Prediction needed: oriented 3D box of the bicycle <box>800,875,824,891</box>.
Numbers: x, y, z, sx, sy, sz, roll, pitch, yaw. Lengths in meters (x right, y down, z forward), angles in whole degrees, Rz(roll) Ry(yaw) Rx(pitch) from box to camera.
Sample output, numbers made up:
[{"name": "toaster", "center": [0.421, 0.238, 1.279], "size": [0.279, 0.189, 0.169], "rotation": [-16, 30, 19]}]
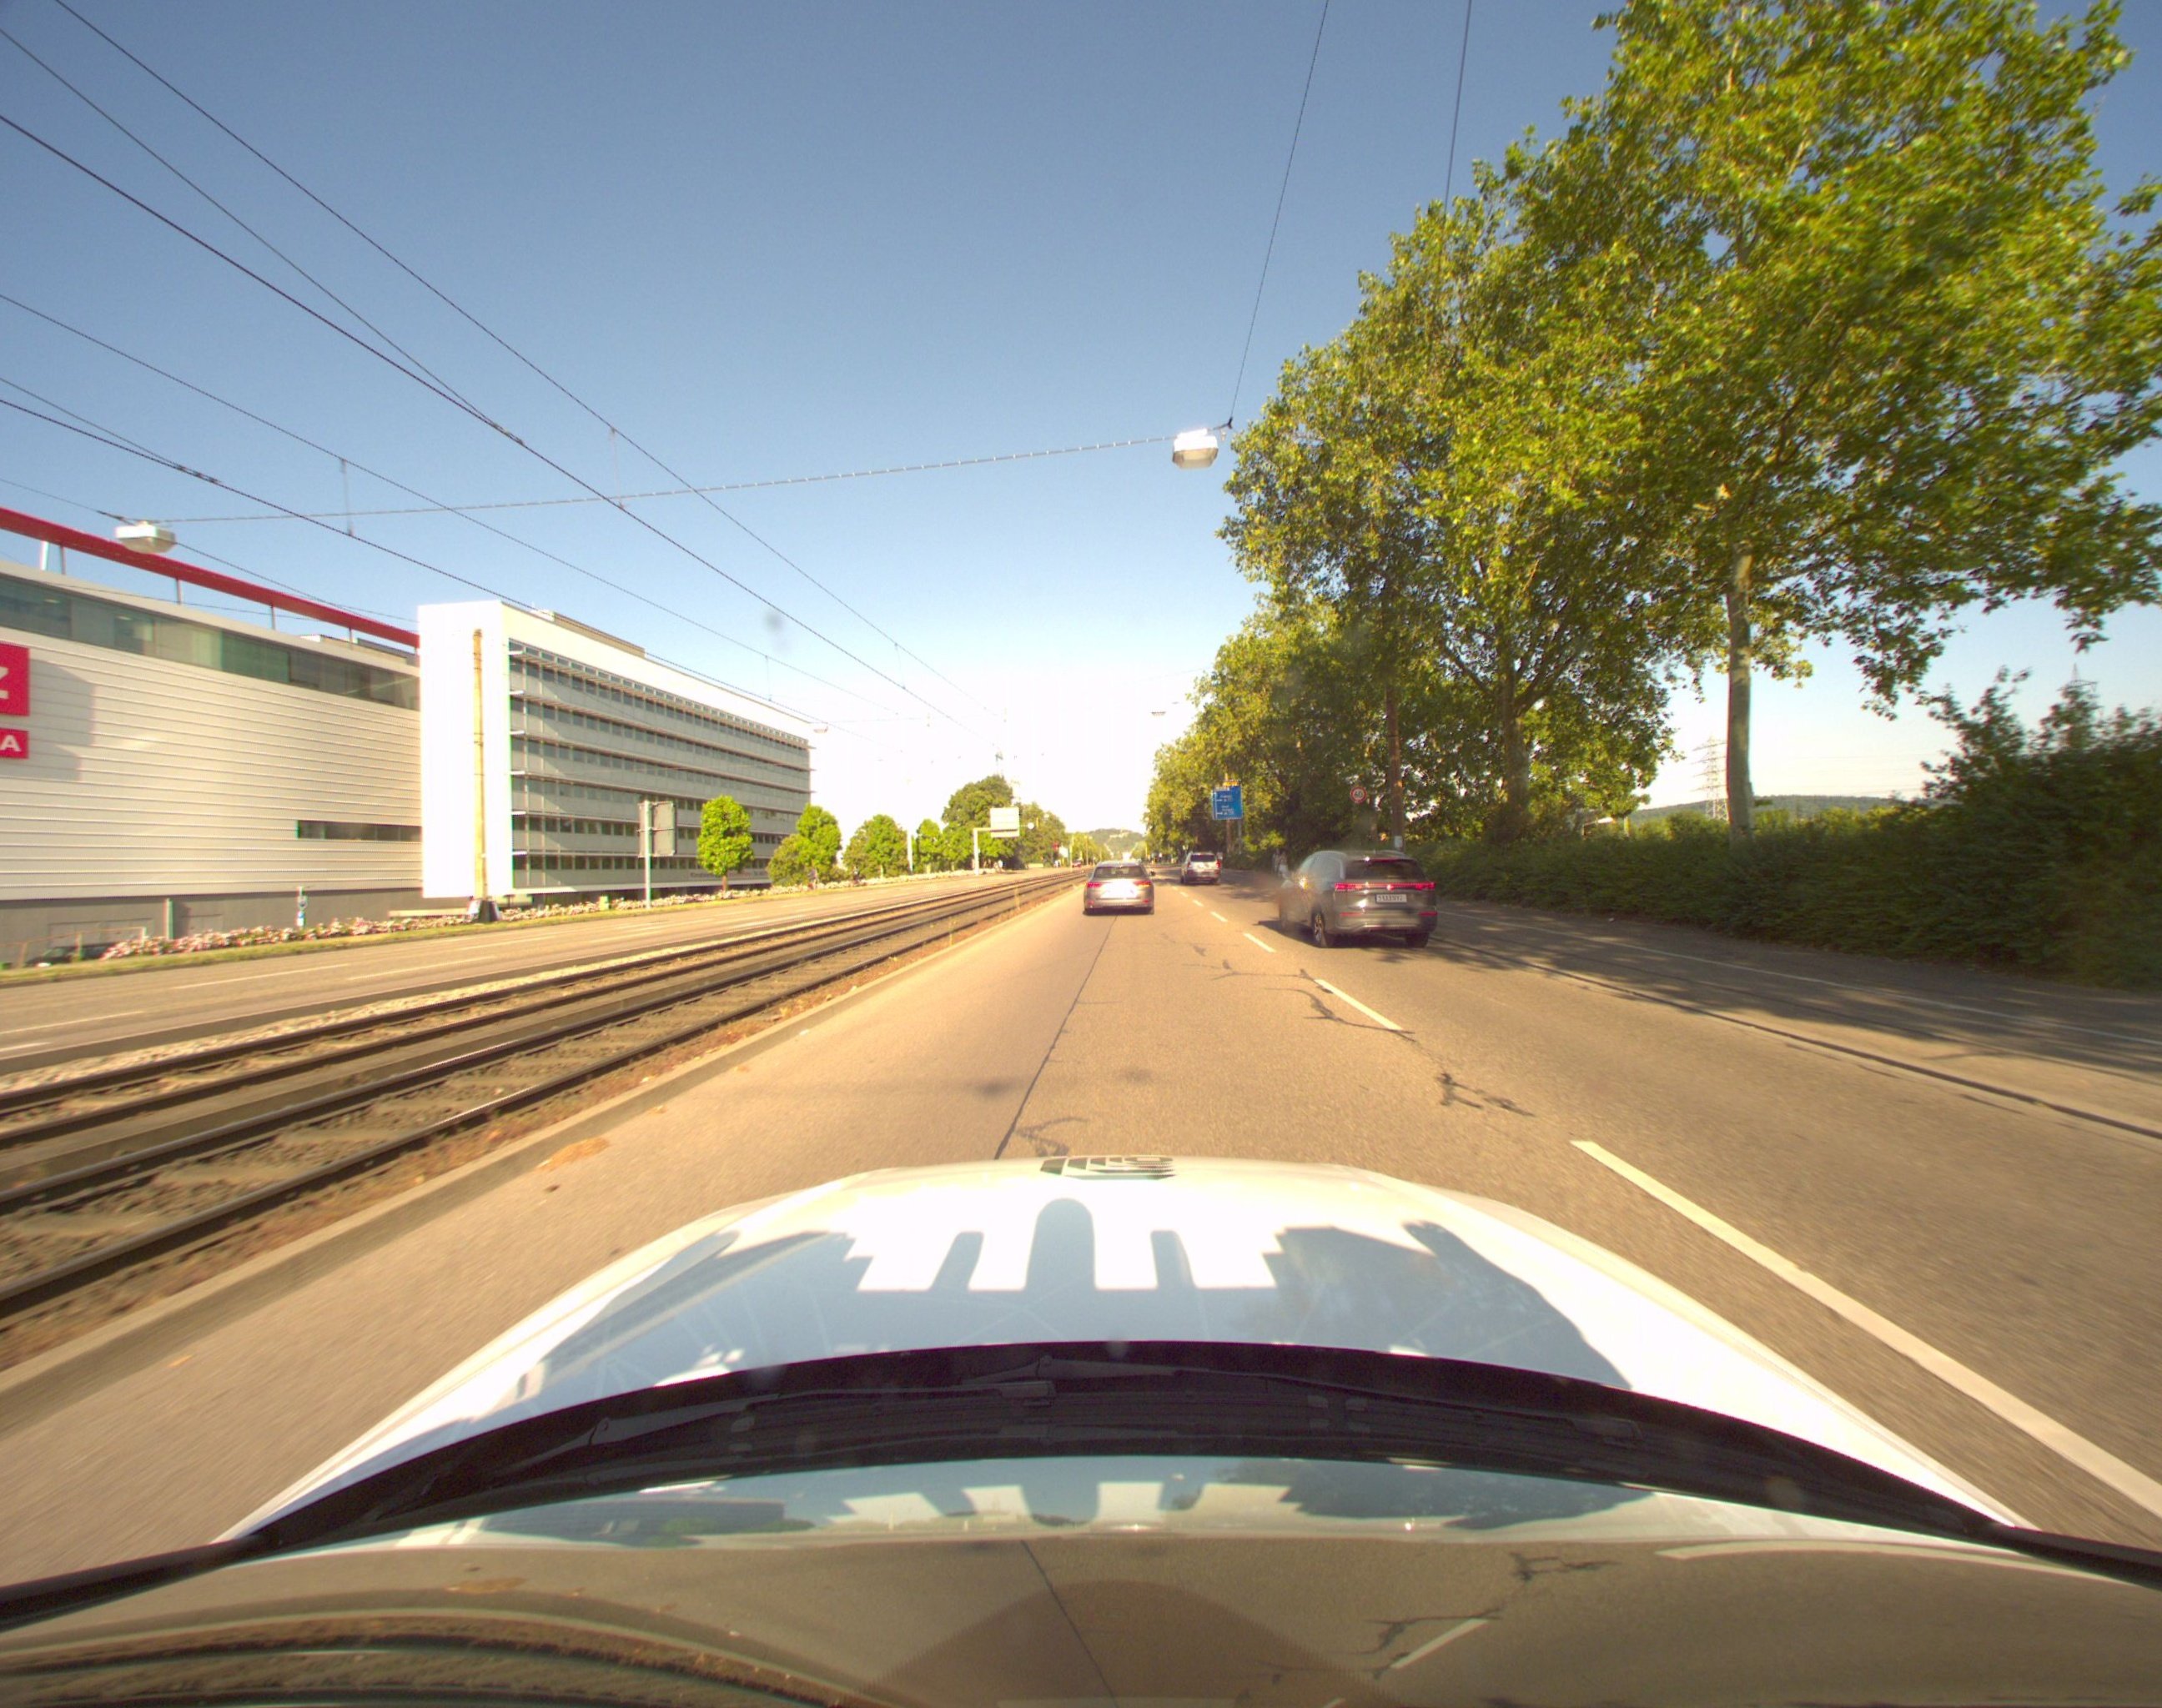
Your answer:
[{"name": "bicycle", "center": [-19.232, 2.064, 58.229], "size": [0.700, 1.073, 2.033], "rotation": [0, 0, 11]}]

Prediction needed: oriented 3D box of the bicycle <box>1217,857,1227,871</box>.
[{"name": "bicycle", "center": [11.441, 0.810, 66.167], "size": [0.619, 1.120, 1.815], "rotation": [-3, 0, 4]}]

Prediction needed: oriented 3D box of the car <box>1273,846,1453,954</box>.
[{"name": "car", "center": [4.898, 0.705, 14.848], "size": [1.837, 1.661, 4.441], "rotation": [-1, 0, 1]}]

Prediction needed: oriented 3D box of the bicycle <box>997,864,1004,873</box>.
[{"name": "bicycle", "center": [-11.835, 2.161, 119.541], "size": [0.599, 1.219, 1.752], "rotation": [0, 0, 7]}]

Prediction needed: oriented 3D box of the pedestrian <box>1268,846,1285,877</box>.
[{"name": "pedestrian", "center": [11.229, 0.420, 46.727], "size": [0.719, 1.707, 0.813], "rotation": [-3, -1, 3]}]

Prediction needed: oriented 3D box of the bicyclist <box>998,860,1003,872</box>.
[{"name": "bicyclist", "center": [-11.823, 1.752, 119.591], "size": [0.599, 1.659, 0.965], "rotation": [0, 0, 7]}]

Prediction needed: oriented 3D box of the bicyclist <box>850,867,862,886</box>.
[{"name": "bicyclist", "center": [-19.114, 1.914, 69.239], "size": [0.656, 1.623, 0.804], "rotation": [0, 0, 13]}]

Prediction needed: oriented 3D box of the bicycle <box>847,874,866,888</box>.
[{"name": "bicycle", "center": [-19.092, 2.306, 69.335], "size": [0.656, 1.151, 2.029], "rotation": [0, 0, 14]}]

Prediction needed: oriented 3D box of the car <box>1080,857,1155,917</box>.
[{"name": "car", "center": [1.116, 0.843, 22.899], "size": [1.857, 1.467, 4.672], "rotation": [-2, 0, 5]}]

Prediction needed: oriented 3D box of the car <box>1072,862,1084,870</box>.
[{"name": "car", "center": [-0.565, 2.376, 164.699], "size": [2.030, 1.503, 4.894], "rotation": [-2, 0, 4]}]

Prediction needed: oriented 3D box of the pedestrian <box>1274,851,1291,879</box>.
[{"name": "pedestrian", "center": [11.181, 0.597, 45.181], "size": [0.720, 1.480, 0.722], "rotation": [-3, -1, 3]}]

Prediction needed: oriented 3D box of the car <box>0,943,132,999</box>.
[{"name": "car", "center": [-26.966, 3.015, 21.095], "size": [1.319, 1.072, 2.841], "rotation": [0, 0, 6]}]

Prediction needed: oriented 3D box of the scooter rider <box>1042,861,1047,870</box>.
[{"name": "scooter rider", "center": [-7.547, 2.297, 169.153], "size": [0.677, 1.848, 1.004], "rotation": [-3, -1, 11]}]

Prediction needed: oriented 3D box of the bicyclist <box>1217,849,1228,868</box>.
[{"name": "bicyclist", "center": [11.463, 0.384, 65.984], "size": [0.682, 1.509, 0.891], "rotation": [-1, 0, 4]}]

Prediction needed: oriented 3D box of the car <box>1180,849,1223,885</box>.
[{"name": "car", "center": [6.277, 0.663, 42.718], "size": [1.875, 1.796, 4.004], "rotation": [0, 0, 3]}]

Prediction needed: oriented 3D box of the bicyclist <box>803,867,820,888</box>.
[{"name": "bicyclist", "center": [-19.245, 1.673, 58.164], "size": [0.700, 1.512, 0.973], "rotation": [0, 0, 11]}]
